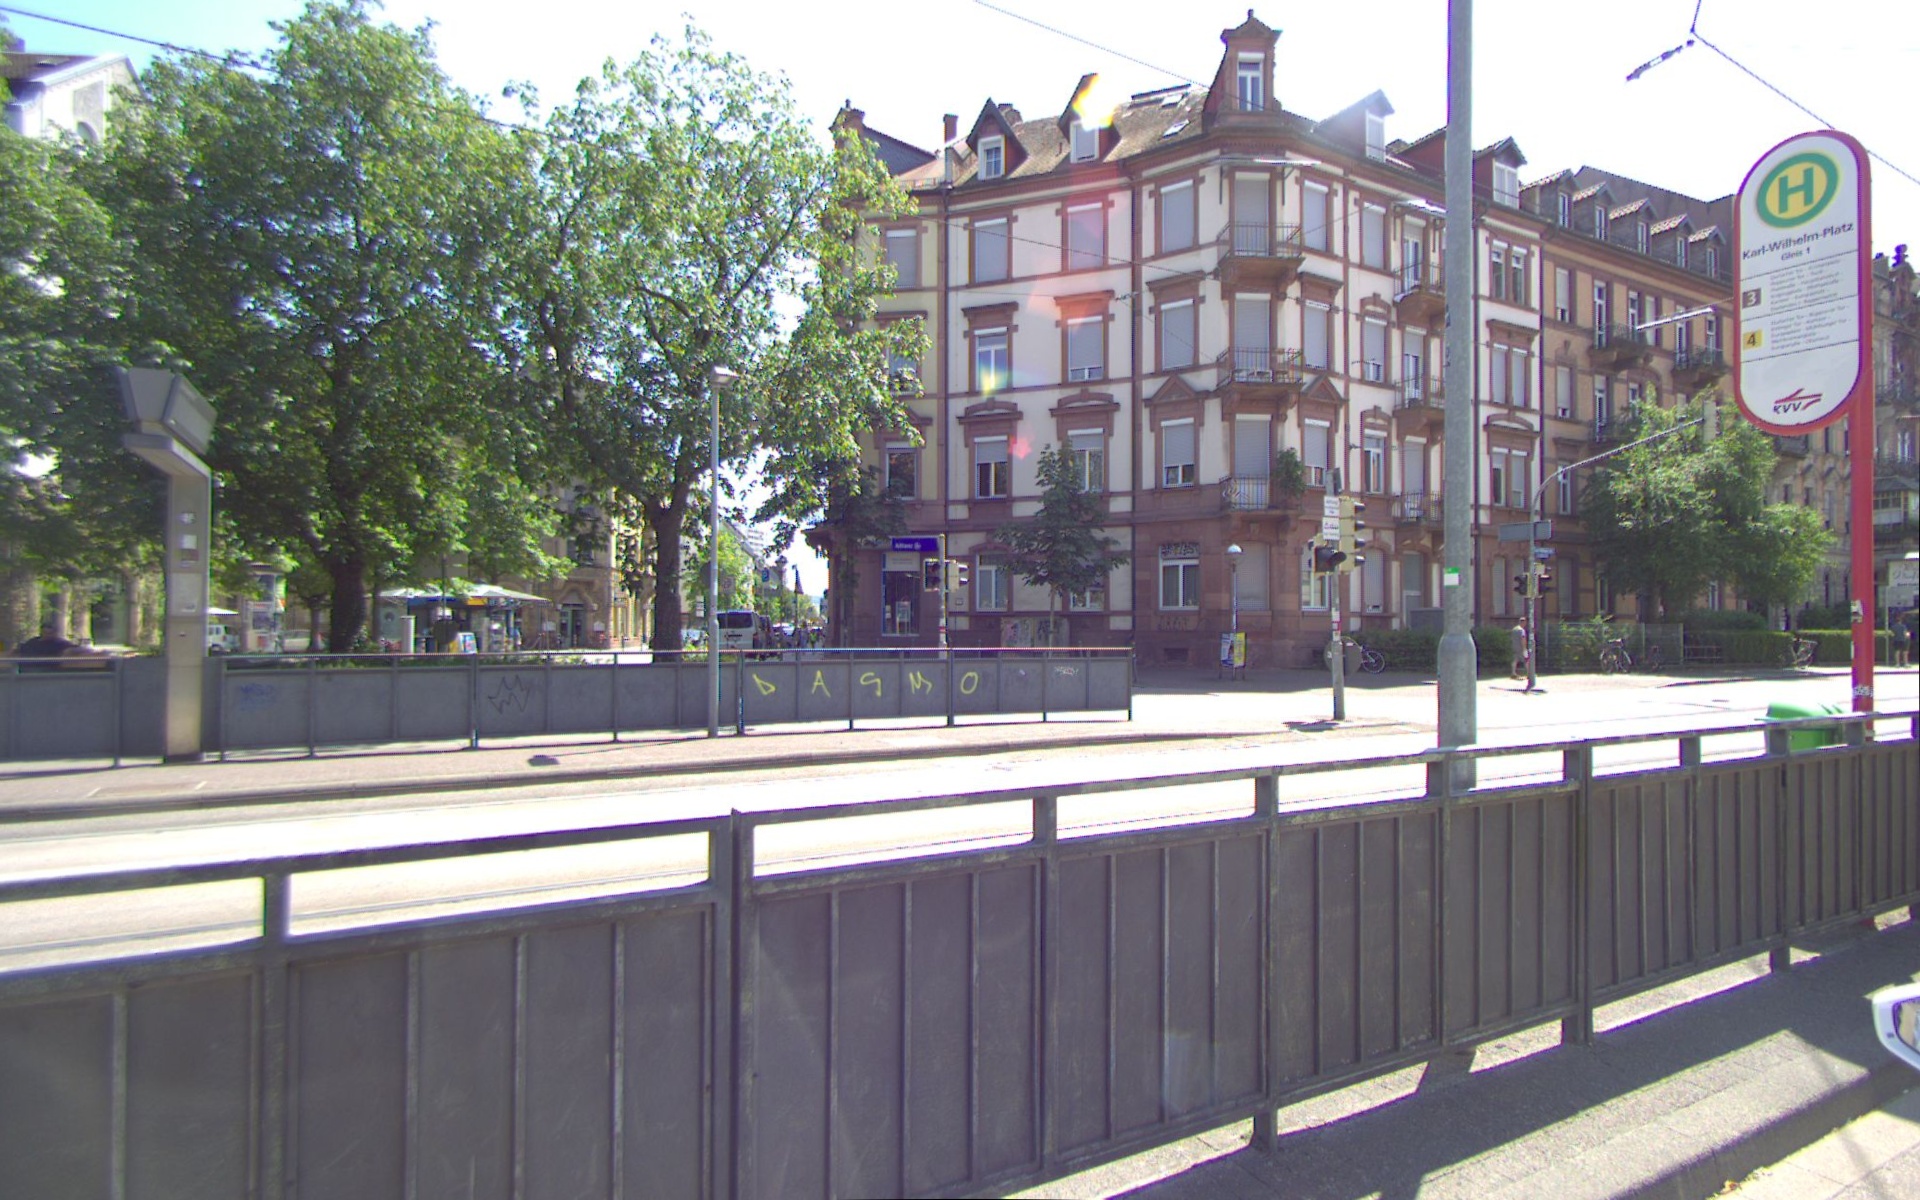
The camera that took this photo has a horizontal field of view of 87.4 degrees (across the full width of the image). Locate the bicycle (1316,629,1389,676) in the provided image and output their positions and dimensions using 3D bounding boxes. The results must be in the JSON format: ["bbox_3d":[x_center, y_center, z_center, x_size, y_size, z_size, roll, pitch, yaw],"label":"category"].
[{"bbox_3d":[11.654,1.555,29.861,1.923,1.312,0.564,2,0,11],"label":"bicycle"}]

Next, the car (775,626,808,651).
[{"bbox_3d":[-12.496,2.838,74.756,1.962,1.617,3.998,2,0,-4],"label":"car"}]

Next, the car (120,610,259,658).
[{"bbox_3d":[-31.200,1.360,40.813,3.932,1.814,1.994,2,0,-14],"label":"car"}]

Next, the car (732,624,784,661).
[{"bbox_3d":[-9.637,2.005,48.287,1.893,1.541,3.998,2,0,-4],"label":"car"}]

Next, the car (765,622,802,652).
[{"bbox_3d":[-10.385,2.171,59.452,1.684,1.617,3.998,2,0,-4],"label":"car"}]

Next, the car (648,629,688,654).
[{"bbox_3d":[-20.672,2.910,71.161,1.846,1.617,3.998,2,0,-4],"label":"car"}]

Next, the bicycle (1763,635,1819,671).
[{"bbox_3d":[28.523,1.802,34.473,2.750,1.151,0.930,2,0,-39],"label":"bicycle"}]

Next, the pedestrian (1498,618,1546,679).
[{"bbox_3d":[15.959,1.371,28.558,1.041,1.712,0.723,0,-1,17],"label":"pedestrian"}]

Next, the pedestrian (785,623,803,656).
[{"bbox_3d":[-8.297,1.962,50.199,0.790,1.632,0.731,0,-1,-4],"label":"pedestrian"}]

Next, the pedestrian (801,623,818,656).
[{"bbox_3d":[-7.526,1.982,50.260,0.742,1.632,0.688,0,-1,-4],"label":"pedestrian"}]

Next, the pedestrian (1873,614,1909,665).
[{"bbox_3d":[34.874,1.459,37.640,0.865,1.847,0.810,0,1,-36],"label":"pedestrian"}]

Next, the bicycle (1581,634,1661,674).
[{"bbox_3d":[20.217,1.644,30.715,2.742,1.151,0.932,2,0,-31],"label":"bicycle"}]

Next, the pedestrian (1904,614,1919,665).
[{"bbox_3d":[35.734,1.465,37.291,0.865,1.847,0.810,0,1,-36],"label":"pedestrian"}]

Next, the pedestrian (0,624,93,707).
[{"bbox_3d":[-14.671,1.039,16.103,0.925,1.261,0.860,2,0,-24],"label":"pedestrian"}]

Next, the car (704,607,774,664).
[{"bbox_3d":[-8.340,1.294,38.215,1.962,1.970,3.998,2,0,-4],"label":"car"}]

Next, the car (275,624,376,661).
[{"bbox_3d":[-32.088,2.151,50.888,3.920,1.730,1.761,2,0,-14],"label":"car"}]
